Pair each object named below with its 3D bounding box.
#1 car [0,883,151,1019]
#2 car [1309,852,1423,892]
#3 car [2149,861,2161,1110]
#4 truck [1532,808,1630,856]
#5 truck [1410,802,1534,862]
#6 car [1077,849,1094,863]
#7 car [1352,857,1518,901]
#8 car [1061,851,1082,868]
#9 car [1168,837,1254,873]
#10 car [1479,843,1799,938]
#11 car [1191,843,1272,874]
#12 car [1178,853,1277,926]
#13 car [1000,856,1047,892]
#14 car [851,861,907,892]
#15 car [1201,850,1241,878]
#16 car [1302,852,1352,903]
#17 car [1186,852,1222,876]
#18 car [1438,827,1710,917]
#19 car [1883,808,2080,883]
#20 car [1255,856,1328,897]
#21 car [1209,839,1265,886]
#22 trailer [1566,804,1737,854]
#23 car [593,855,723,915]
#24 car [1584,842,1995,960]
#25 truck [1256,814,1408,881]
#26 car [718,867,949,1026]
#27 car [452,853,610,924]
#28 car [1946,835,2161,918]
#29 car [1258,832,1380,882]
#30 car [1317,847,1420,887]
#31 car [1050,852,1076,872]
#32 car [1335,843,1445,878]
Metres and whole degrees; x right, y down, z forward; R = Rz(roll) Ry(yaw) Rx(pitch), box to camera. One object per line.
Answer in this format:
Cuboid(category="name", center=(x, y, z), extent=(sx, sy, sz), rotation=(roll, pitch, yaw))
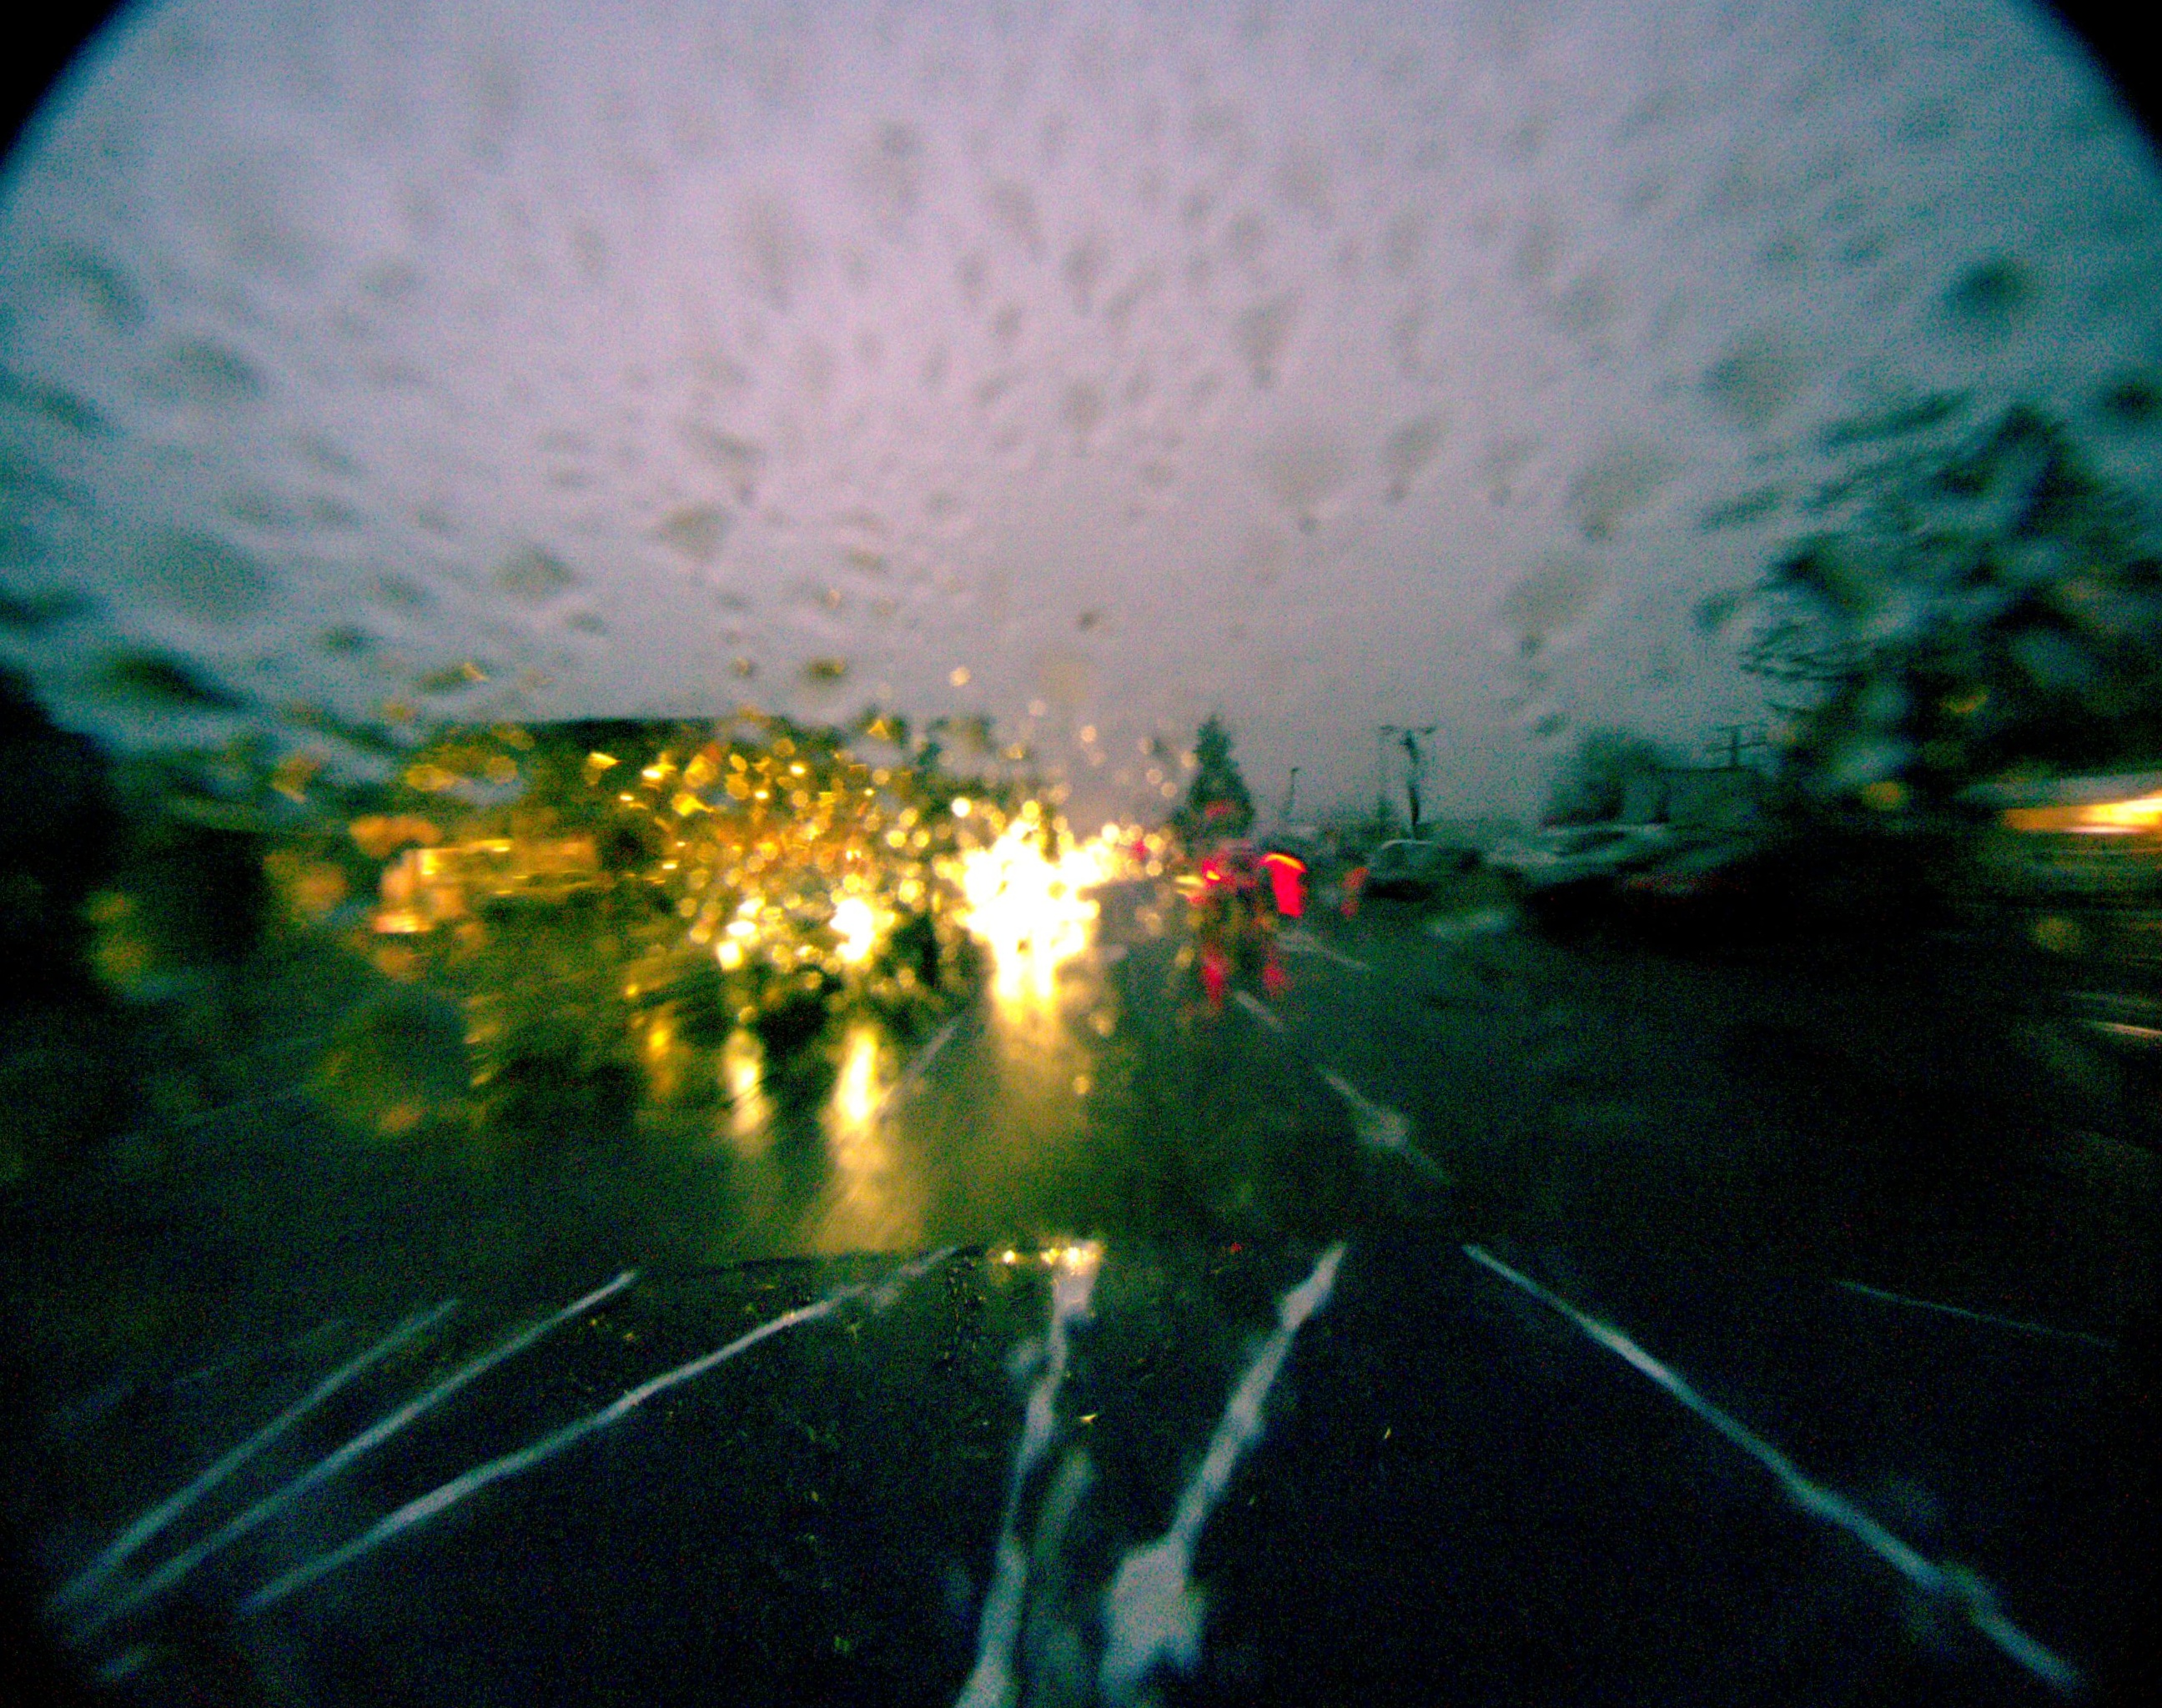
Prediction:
Cuboid(category="car", center=(-14.999, 1.280, 9.157), extent=(4.491, 1.599, 2.014), rotation=(-2, 1, -42))
Cuboid(category="car", center=(11.445, 0.709, 30.677), extent=(3.919, 1.469, 1.810), rotation=(1, 1, 1))
Cuboid(category="car", center=(7.389, 0.811, 3.209), extent=(1.521, 1.534, 3.015), rotation=(0, 0, 1))
Cuboid(category="truck", center=(30.317, -1.323, 46.110), extent=(4.726, 2.681, 2.232), rotation=(-3, 1, -13))
Cuboid(category="truck", center=(31.443, -1.743, 61.195), extent=(8.714, 4.237, 3.004), rotation=(-3, 1, -10))
Cuboid(category="car", center=(0.474, 0.232, 91.134), extent=(1.890, 1.618, 3.999), rotation=(-2, 0, -1))
Cuboid(category="car", center=(11.864, 0.821, 25.660), extent=(4.768, 1.429, 1.783), rotation=(0, 0, -1))
Cuboid(category="car", center=(-0.909, 0.544, 75.534), extent=(1.889, 1.618, 4.000), rotation=(-2, 0, 1))
Cuboid(category="car", center=(9.693, 0.091, 57.038), extent=(6.171, 2.617, 2.176), rotation=(0, 0, 1))
Cuboid(category="car", center=(10.057, 0.625, 14.014), extent=(4.345, 1.489, 1.995), rotation=(-2, 0, 4))
Cuboid(category="car", center=(10.281, 0.309, 52.267), extent=(5.158, 2.138, 2.058), rotation=(0, 0, 1))
Cuboid(category="car", center=(3.361, 0.750, 18.123), extent=(1.607, 1.525, 4.000), rotation=(0, 0, 0))
Cuboid(category="car", center=(-2.633, 0.867, 35.233), extent=(2.016, 1.484, 3.998), rotation=(-2, 0, -3))
Cuboid(category="car", center=(-9.835, 1.077, 37.346), extent=(1.576, 1.388, 4.168), rotation=(-1, 0, 1))
Cuboid(category="car", center=(7.570, 0.537, 41.310), extent=(1.653, 1.404, 3.841), rotation=(-1, 0, 3))
Cuboid(category="car", center=(8.281, 0.742, 25.729), extent=(1.174, 1.634, 2.872), rotation=(-1, 0, 9))
Cuboid(category="car", center=(7.562, 0.610, 46.991), extent=(1.655, 1.411, 3.743), rotation=(-1, -1, 2))
Cuboid(category="car", center=(10.370, 0.349, 16.222), extent=(4.547, 1.667, 2.010), rotation=(-2, 1, -3))
Cuboid(category="car", center=(30.055, -0.286, 25.466), extent=(4.244, 2.268, 2.265), rotation=(-2, 0, -6))
Cuboid(category="car", center=(8.083, 0.816, 29.582), extent=(1.574, 1.314, 4.254), rotation=(0, 2, -1))
Cuboid(category="car", center=(7.165, 0.370, 35.333), extent=(1.839, 2.002, 4.484), rotation=(-2, 0, 3))
Cuboid(category="trailer", center=(35.526, -1.550, 47.319), extent=(10.510, 2.658, 2.217), rotation=(-3, 1, -13))
Cuboid(category="car", center=(-14.391, 0.990, 26.158), extent=(1.998, 1.848, 4.298), rotation=(0, 0, 1))
Cuboid(category="car", center=(10.340, 0.649, 11.375), extent=(4.346, 1.489, 1.826), rotation=(-2, 0, 2))
Cuboid(category="truck", center=(12.567, -0.331, 38.432), extent=(6.876, 3.124, 2.334), rotation=(-2, 0, 0))
Cuboid(category="car", center=(-2.950, 1.006, 9.980), extent=(1.569, 1.520, 4.006), rotation=(-2, 0, 2))
Cuboid(category="car", center=(-17.330, 1.007, 24.230), extent=(1.998, 2.002, 4.000), rotation=(-2, 1, 1))
Cuboid(category="car", center=(18.546, 0.358, 14.620), extent=(1.670, 1.376, 3.630), rotation=(-2, 0, 35))
Cuboid(category="car", center=(13.150, 0.166, 42.244), extent=(6.047, 2.623, 2.195), rotation=(-1, 0, -1))
Cuboid(category="car", center=(13.627, 0.592, 36.142), extent=(4.060, 1.722, 2.024), rotation=(-2, 0, -2))
Cuboid(category="car", center=(-1.503, 0.648, 61.942), extent=(2.016, 1.484, 3.998), rotation=(-2, 0, -3))
Cuboid(category="car", center=(13.534, 0.285, 33.388), extent=(4.060, 1.369, 1.814), rotation=(-2, 0, -2))
